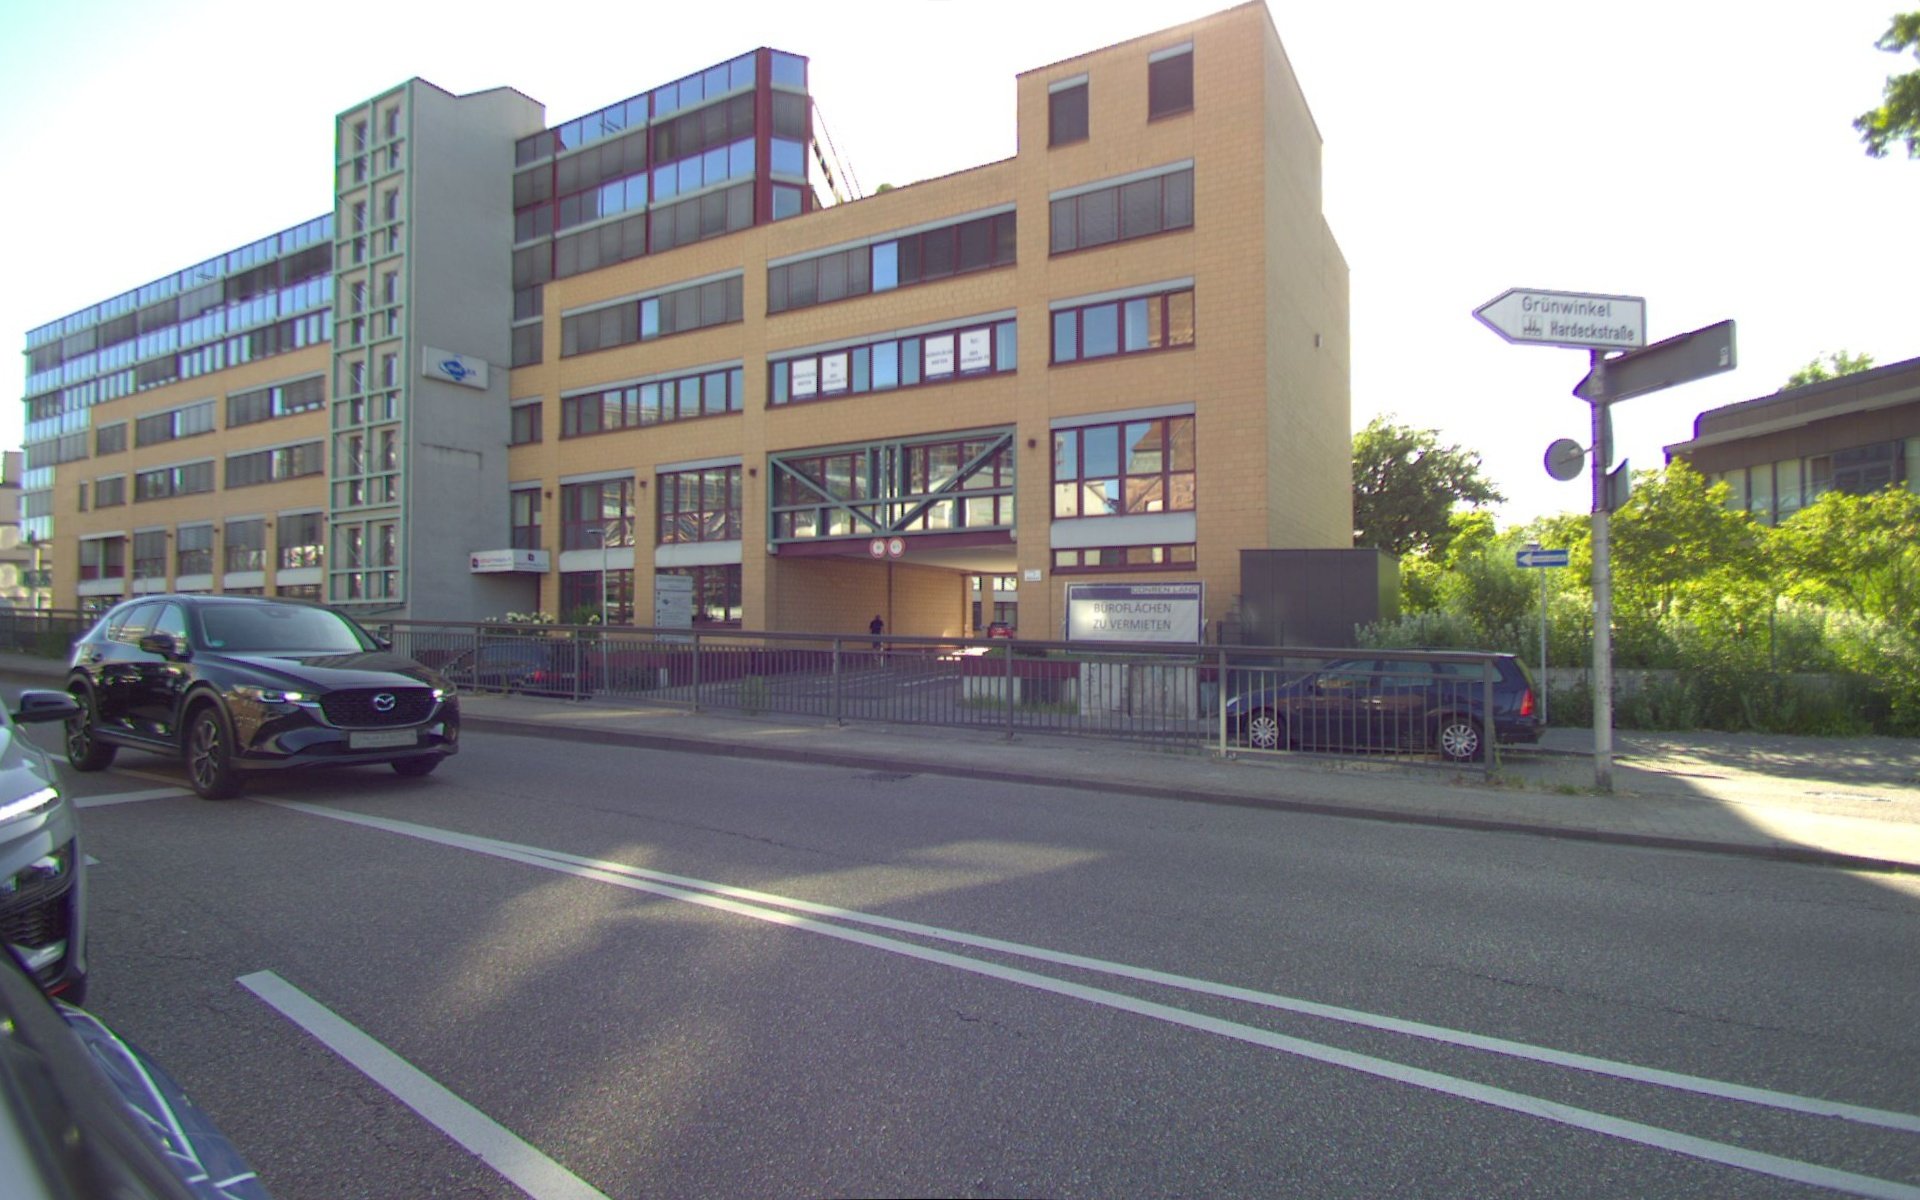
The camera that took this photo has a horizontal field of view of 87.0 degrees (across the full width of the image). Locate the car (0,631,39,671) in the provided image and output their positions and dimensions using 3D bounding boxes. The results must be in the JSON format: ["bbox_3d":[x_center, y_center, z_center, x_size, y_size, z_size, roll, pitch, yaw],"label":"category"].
[{"bbox_3d":[-40.097,2.091,41.893,3.988,1.519,1.978,-1,0,33],"label":"car"}]

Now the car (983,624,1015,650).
[{"bbox_3d":[2.561,2.451,67.289,1.742,1.532,4.003,-1,0,-3],"label":"car"}]

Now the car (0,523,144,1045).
[{"bbox_3d":[-4.949,0.617,4.160,4.196,1.634,1.854,-2,-3,42],"label":"car"}]

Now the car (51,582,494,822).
[{"bbox_3d":[-6.340,0.774,9.219,4.184,1.722,1.859,-1,-2,33],"label":"car"}]

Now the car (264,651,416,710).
[{"bbox_3d":[-17.460,2.222,28.495,4.143,1.535,1.862,-2,-3,29],"label":"car"}]

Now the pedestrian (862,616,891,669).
[{"bbox_3d":[-2.988,1.502,36.307,0.703,1.865,0.738,-2,-1,35],"label":"pedestrian"}]

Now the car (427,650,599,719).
[{"bbox_3d":[-10.979,2.030,24.822,4.139,1.535,1.624,-2,-3,27],"label":"car"}]

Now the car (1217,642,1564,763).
[{"bbox_3d":[6.130,1.444,14.649,4.367,1.520,1.640,-3,-5,34],"label":"car"}]
